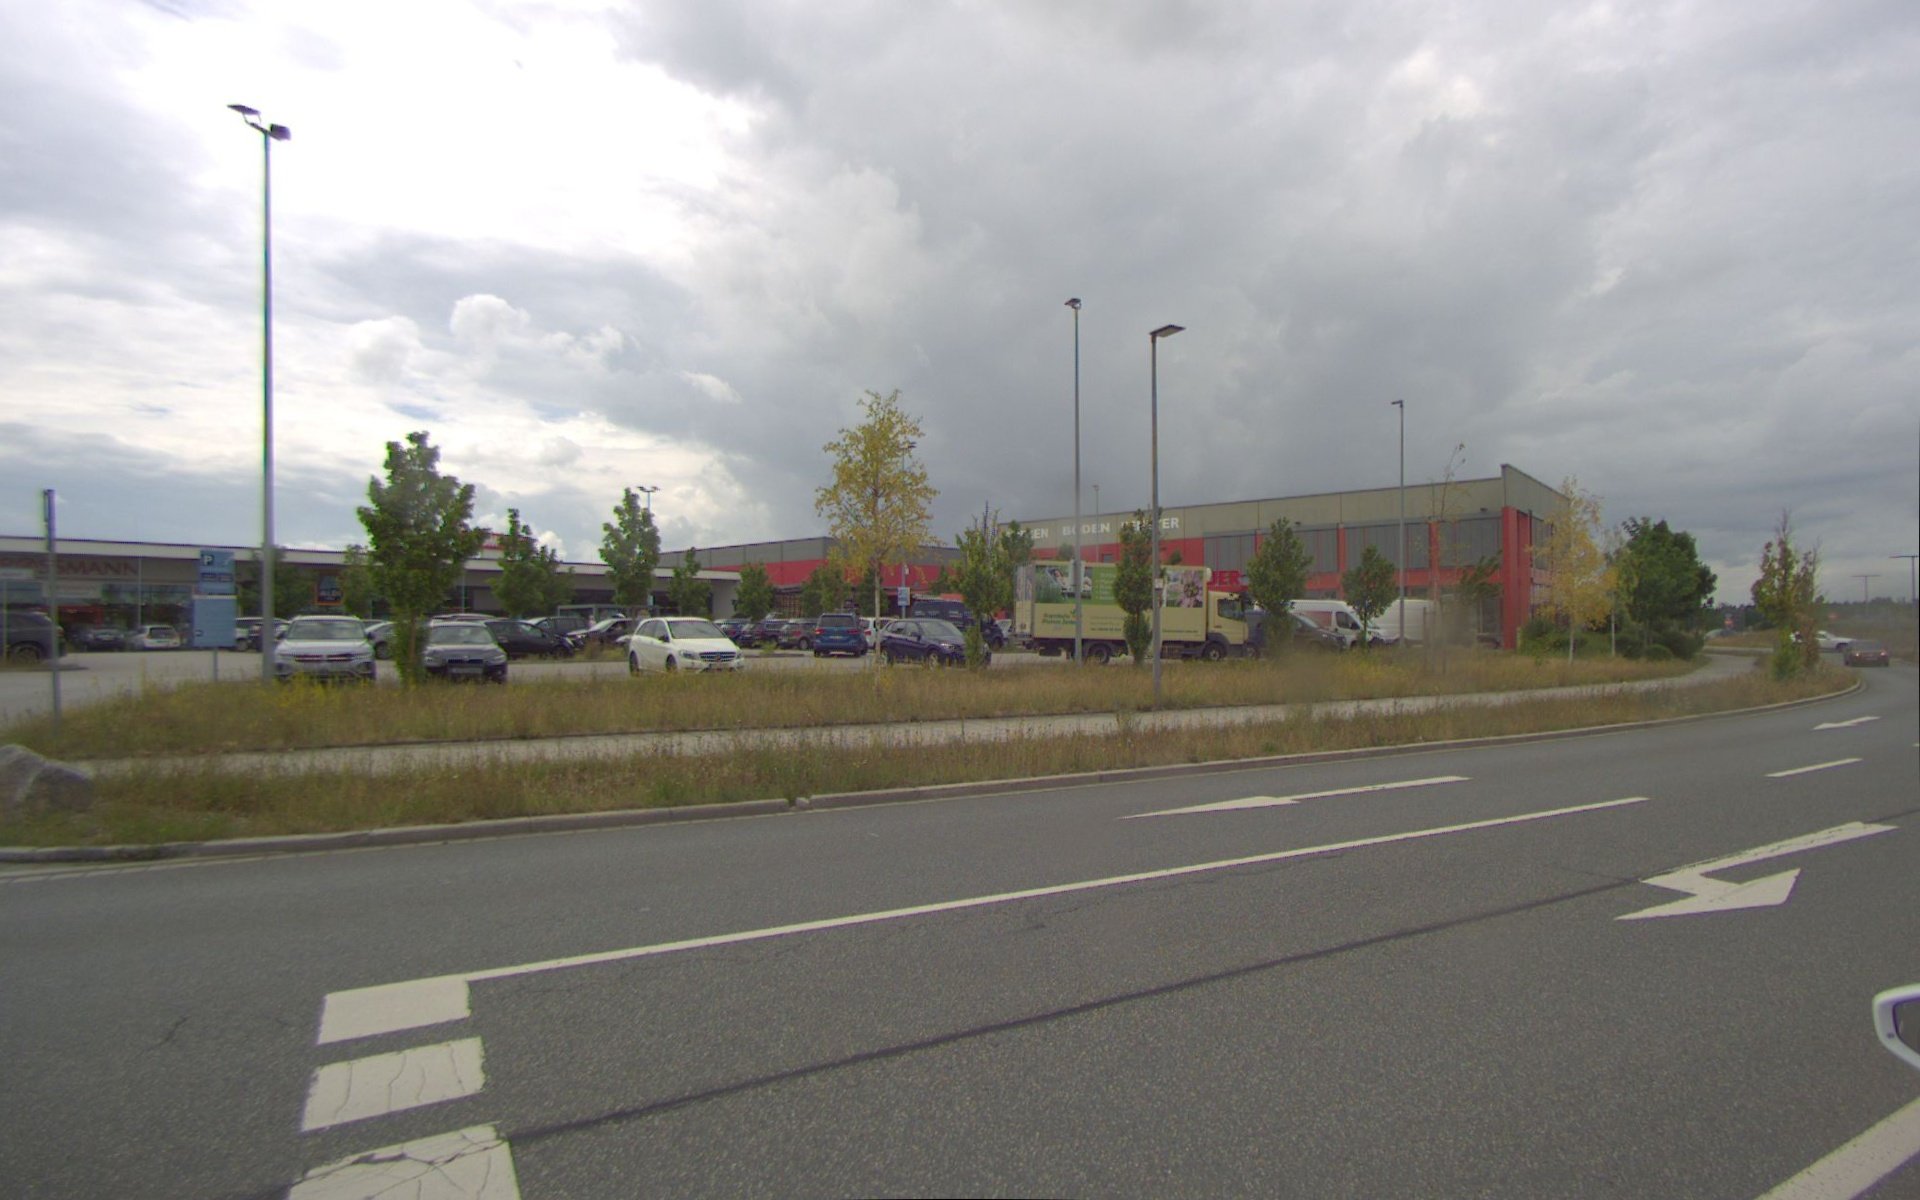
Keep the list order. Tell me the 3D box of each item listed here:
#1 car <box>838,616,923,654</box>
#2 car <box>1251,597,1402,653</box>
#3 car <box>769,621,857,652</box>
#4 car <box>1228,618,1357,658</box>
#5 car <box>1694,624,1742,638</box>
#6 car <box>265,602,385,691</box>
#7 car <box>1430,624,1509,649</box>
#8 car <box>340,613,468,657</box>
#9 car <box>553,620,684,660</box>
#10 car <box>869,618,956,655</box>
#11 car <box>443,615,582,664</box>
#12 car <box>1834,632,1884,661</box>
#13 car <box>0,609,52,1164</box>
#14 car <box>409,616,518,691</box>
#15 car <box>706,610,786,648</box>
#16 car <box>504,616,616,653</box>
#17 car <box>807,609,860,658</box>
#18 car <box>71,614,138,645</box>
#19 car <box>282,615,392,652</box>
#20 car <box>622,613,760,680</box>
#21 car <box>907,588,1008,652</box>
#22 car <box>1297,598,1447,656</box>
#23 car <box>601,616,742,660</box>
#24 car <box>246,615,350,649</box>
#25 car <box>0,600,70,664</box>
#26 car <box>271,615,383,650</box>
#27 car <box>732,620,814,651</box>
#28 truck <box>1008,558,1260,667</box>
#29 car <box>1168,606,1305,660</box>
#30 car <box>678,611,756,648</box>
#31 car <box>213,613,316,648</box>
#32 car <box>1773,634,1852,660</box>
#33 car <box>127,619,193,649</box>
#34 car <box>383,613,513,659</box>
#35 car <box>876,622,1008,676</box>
[{"bbox_3d":[-3.825,1.700,49.038,1.969,1.751,3.983,-1,-2,39],"label":"car"},{"bbox_3d":[16.287,1.110,44.896,6.001,2.337,2.199,-1,-2,42],"label":"car"},{"bbox_3d":[-7.582,1.883,52.031,1.972,1.539,4.205,-2,-2,43],"label":"car"},{"bbox_3d":[14.100,1.598,42.707,4.844,1.638,1.985,-1,-2,40],"label":"car"},{"bbox_3d":[80.406,3.288,106.568,3.938,1.425,1.840,-4,-4,38],"label":"car"},{"bbox_3d":[-13.856,0.973,21.982,2.006,1.745,4.219,1,-2,-32],"label":"car"},{"bbox_3d":[33.752,2.387,66.631,4.298,1.572,2.002,0,-1,10],"label":"car"},{"bbox_3d":[-21.875,1.367,39.650,1.969,1.628,3.983,-1,-2,38],"label":"car"},{"bbox_3d":[-14.890,1.721,44.059,1.969,1.628,5.250,-1,-2,39],"label":"car"},{"bbox_3d":[-2.184,1.696,47.070,1.969,1.628,3.983,-1,-2,39],"label":"car"},{"bbox_3d":[-15.498,1.352,34.969,1.969,1.628,3.983,-1,-2,39],"label":"car"},{"bbox_3d":[56.779,2.955,63.522,1.776,1.691,4.313,-4,-4,35],"label":"car"},{"bbox_3d":[-4.006,0.691,1.049,4.196,1.439,1.821,1,-2,-31],"label":"car"},{"bbox_3d":[-11.312,1.144,22.830,2.020,1.533,4.226,1,-1,-28],"label":"car"},{"bbox_3d":[-11.829,1.613,55.730,1.969,2.040,3.983,0,-1,38],"label":"car"},{"bbox_3d":[-18.246,1.563,45.900,1.972,1.628,4.362,-2,-2,43],"label":"car"},{"bbox_3d":[-4.881,1.272,38.929,1.941,1.795,3.996,0,-2,-7],"label":"car"},{"bbox_3d":[-46.800,1.627,54.936,3.936,1.628,1.993,-1,-2,37],"label":"car"},{"bbox_3d":[-29.117,1.547,47.020,1.969,1.628,3.983,-1,-2,39],"label":"car"},{"bbox_3d":[-6.965,1.159,25.758,1.971,1.580,4.216,1,-2,-37],"label":"car"},{"bbox_3d":[-0.040,0.938,45.619,2.031,2.726,5.129,-1,-2,35],"label":"car"},{"bbox_3d":[19.789,1.290,48.456,6.339,2.632,2.231,-1,-2,43],"label":"car"},{"bbox_3d":[-11.422,1.493,40.093,1.969,1.628,5.250,-1,-2,39],"label":"car"},{"bbox_3d":[-33.340,1.604,50.636,1.969,1.628,3.983,-1,-2,39],"label":"car"},{"bbox_3d":[-27.895,0.880,27.859,1.970,1.769,4.562,-1,-2,40],"label":"car"},{"bbox_3d":[-31.128,1.578,49.451,1.969,1.628,4.275,-1,-2,39],"label":"car"},{"bbox_3d":[-9.919,1.868,53.537,1.969,1.561,3.983,-1,-2,39],"label":"car"},{"bbox_3d":[6.066,0.491,35.413,8.279,3.588,2.853,1,-1,-11],"label":"truck"},{"bbox_3d":[10.826,1.291,39.607,2.161,2.016,4.862,2,-2,-40],"label":"car"},{"bbox_3d":[-13.883,1.655,57.464,1.969,2.040,3.983,0,-1,38],"label":"car"},{"bbox_3d":[-35.896,1.578,51.891,1.969,1.755,3.983,-1,-2,39],"label":"car"},{"bbox_3d":[68.757,3.784,81.072,1.981,2.040,4.577,1,-2,-36],"label":"car"},{"bbox_3d":[-45.561,1.922,57.168,3.936,1.628,1.993,-1,-2,37],"label":"car"},{"bbox_3d":[-19.502,1.357,38.371,1.969,1.628,3.983,-1,-2,39],"label":"car"},{"bbox_3d":[-0.612,1.407,29.752,1.977,1.454,4.206,1,-2,-34],"label":"car"}]
